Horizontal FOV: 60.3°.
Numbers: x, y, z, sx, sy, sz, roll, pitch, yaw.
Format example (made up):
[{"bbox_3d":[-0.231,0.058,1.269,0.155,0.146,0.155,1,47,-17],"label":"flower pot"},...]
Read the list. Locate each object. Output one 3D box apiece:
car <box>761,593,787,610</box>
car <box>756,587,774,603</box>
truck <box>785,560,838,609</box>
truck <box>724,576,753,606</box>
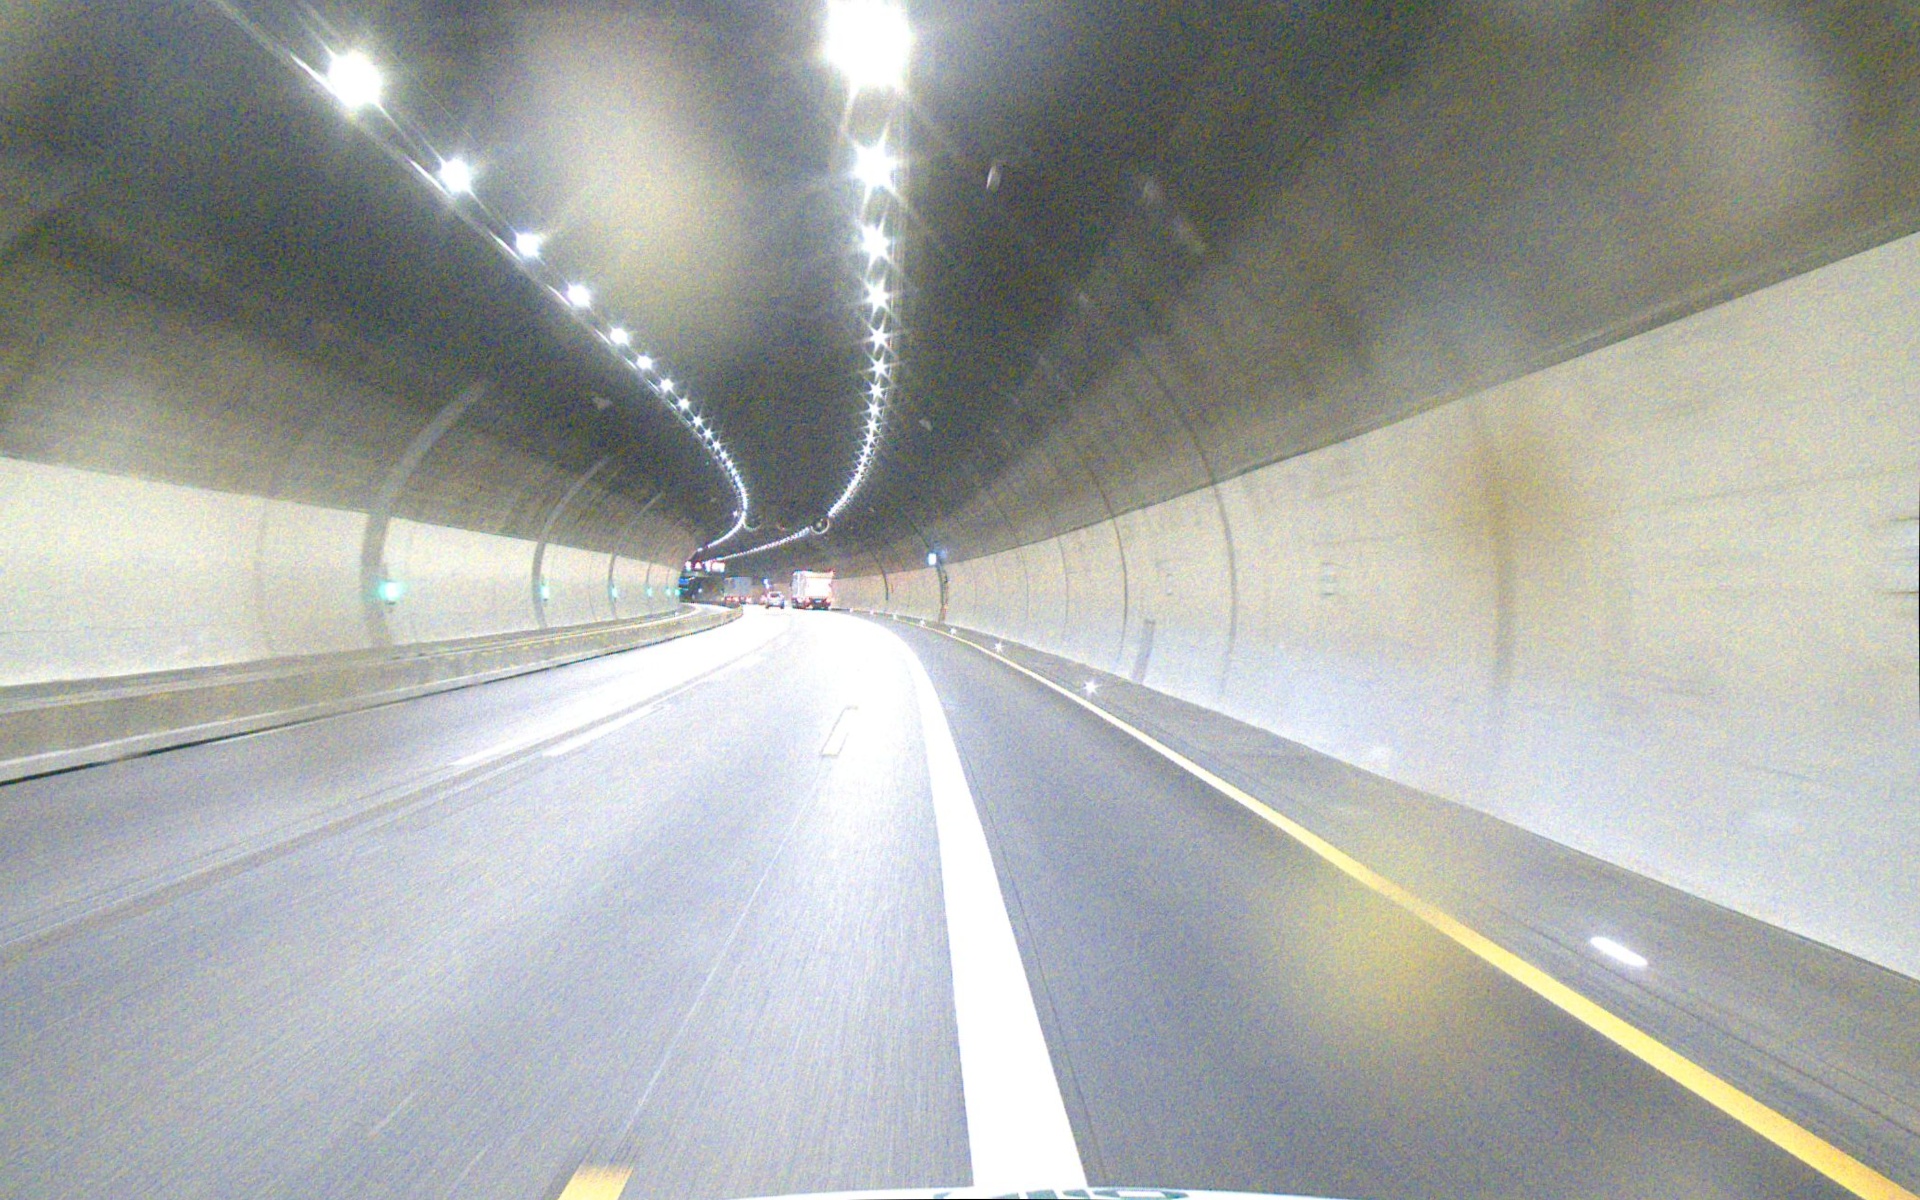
[{"bbox_3d":[-17.940,0.109,159.580,1.960,1.609,3.985,1,0,-15],"label":"car"},{"bbox_3d":[-25.362,-0.599,214.563,1.958,2.049,3.988,0,0,-12],"label":"car"},{"bbox_3d":[-14.166,-1.455,156.517,3.415,4.391,10.912,0,0,-14],"label":"truck"},{"bbox_3d":[-33.988,-1.360,253.548,3.415,4.392,10.912,0,0,-14],"label":"truck"}]
